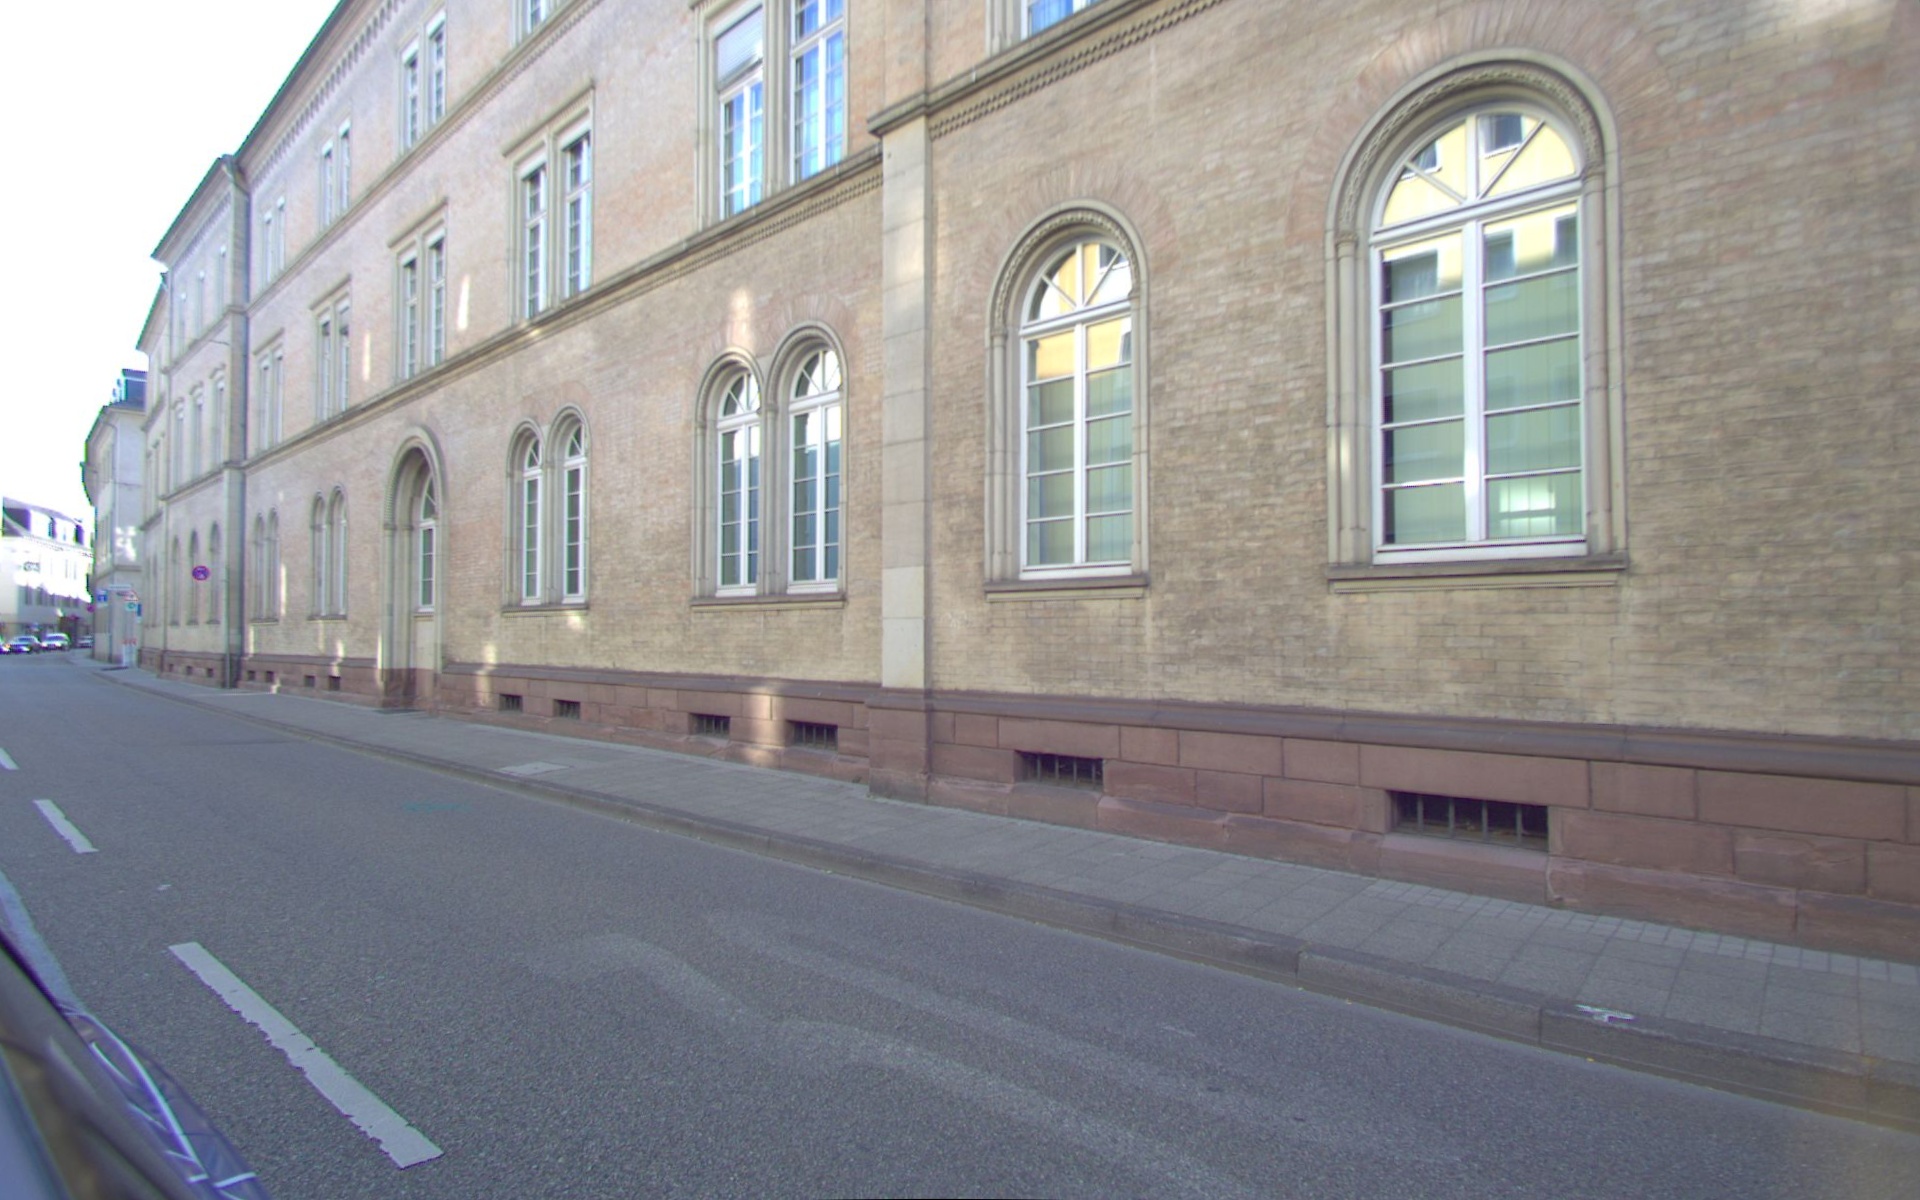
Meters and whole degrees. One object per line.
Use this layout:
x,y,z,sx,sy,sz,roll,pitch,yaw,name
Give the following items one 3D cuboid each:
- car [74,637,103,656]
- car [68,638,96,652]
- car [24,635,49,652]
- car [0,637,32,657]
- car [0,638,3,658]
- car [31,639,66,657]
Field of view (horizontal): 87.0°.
-80.349,4.251,93.323,1.638,1.737,3.748,1,-3,-36,car
-109.138,5.541,125.814,1.896,1.737,4.242,1,-2,-31,car
-102.147,4.803,111.946,1.511,1.737,3.748,1,-2,-34,car
-83.094,4.092,89.048,1.834,1.737,3.745,1,-3,-39,car
-85.818,4.257,89.305,1.512,1.737,3.747,1,-3,-37,car
-91.586,4.817,101.765,1.892,1.735,4.973,1,-2,-34,car
